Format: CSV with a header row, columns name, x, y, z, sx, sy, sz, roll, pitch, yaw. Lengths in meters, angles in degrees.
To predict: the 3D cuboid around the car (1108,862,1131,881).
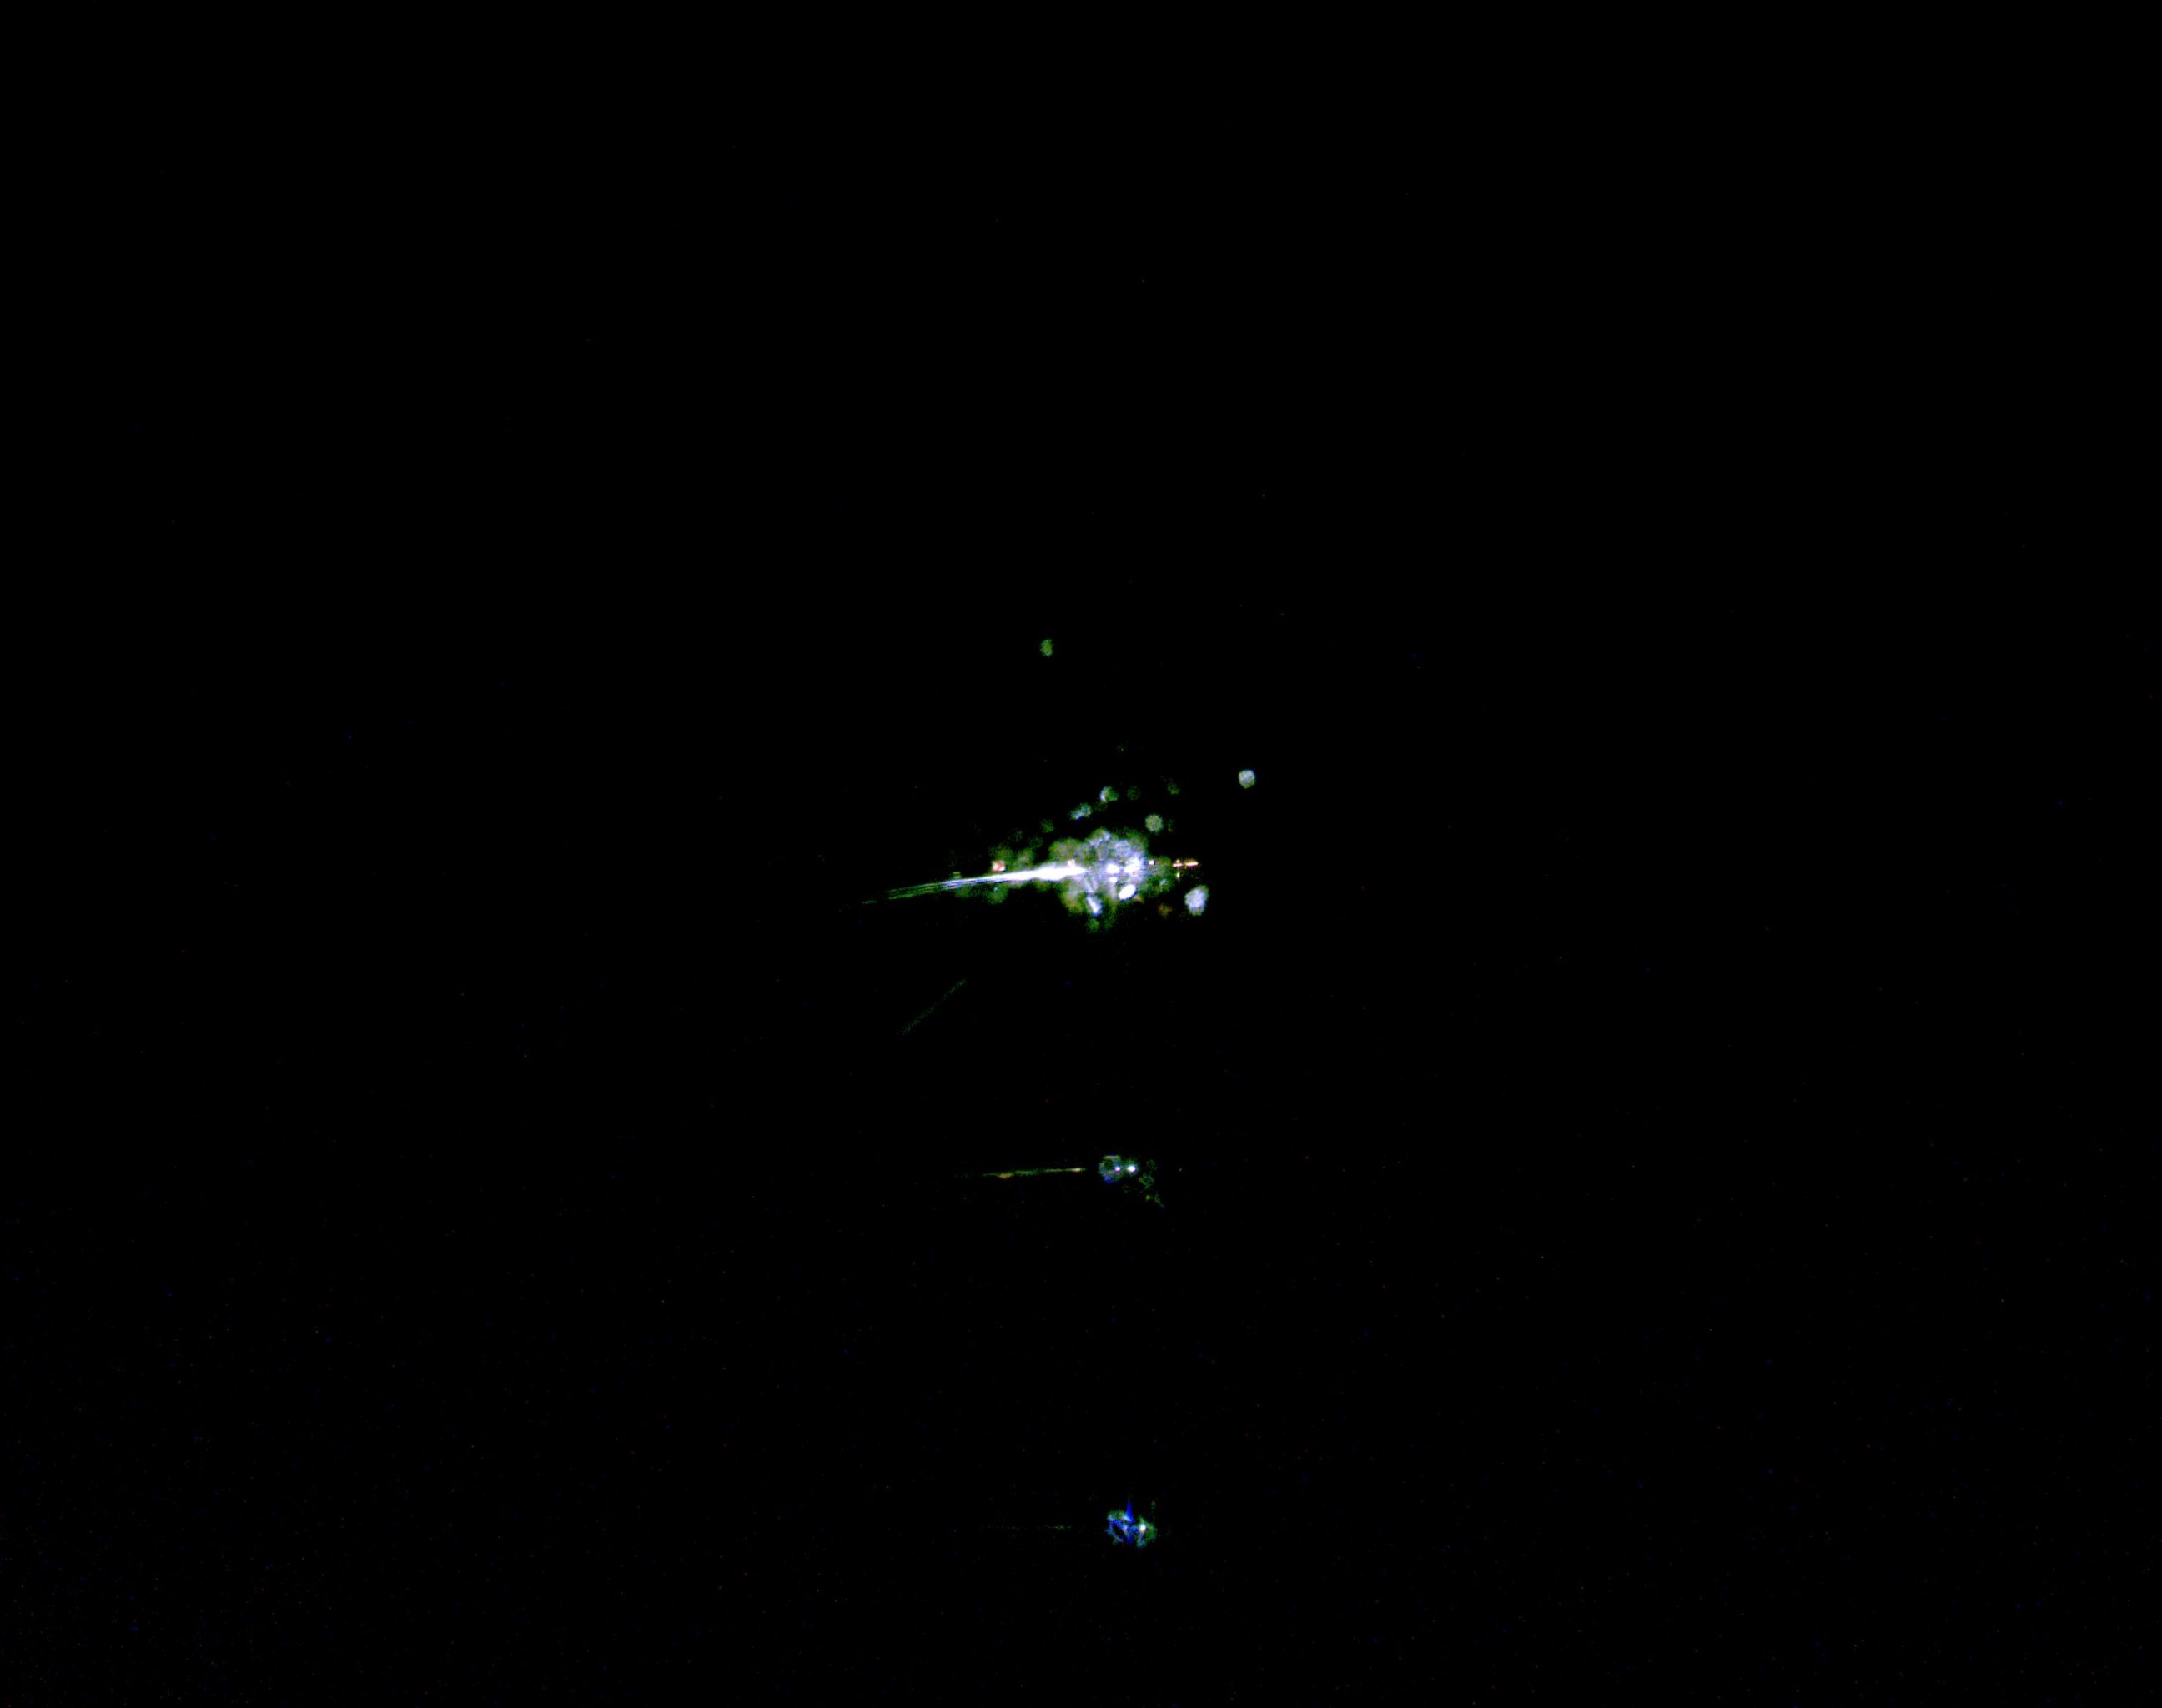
name,x,y,z,sx,sy,sz,roll,pitch,yaw
car,3.686,1.666,77.342,1.984,1.693,4.703,-1,-2,5
